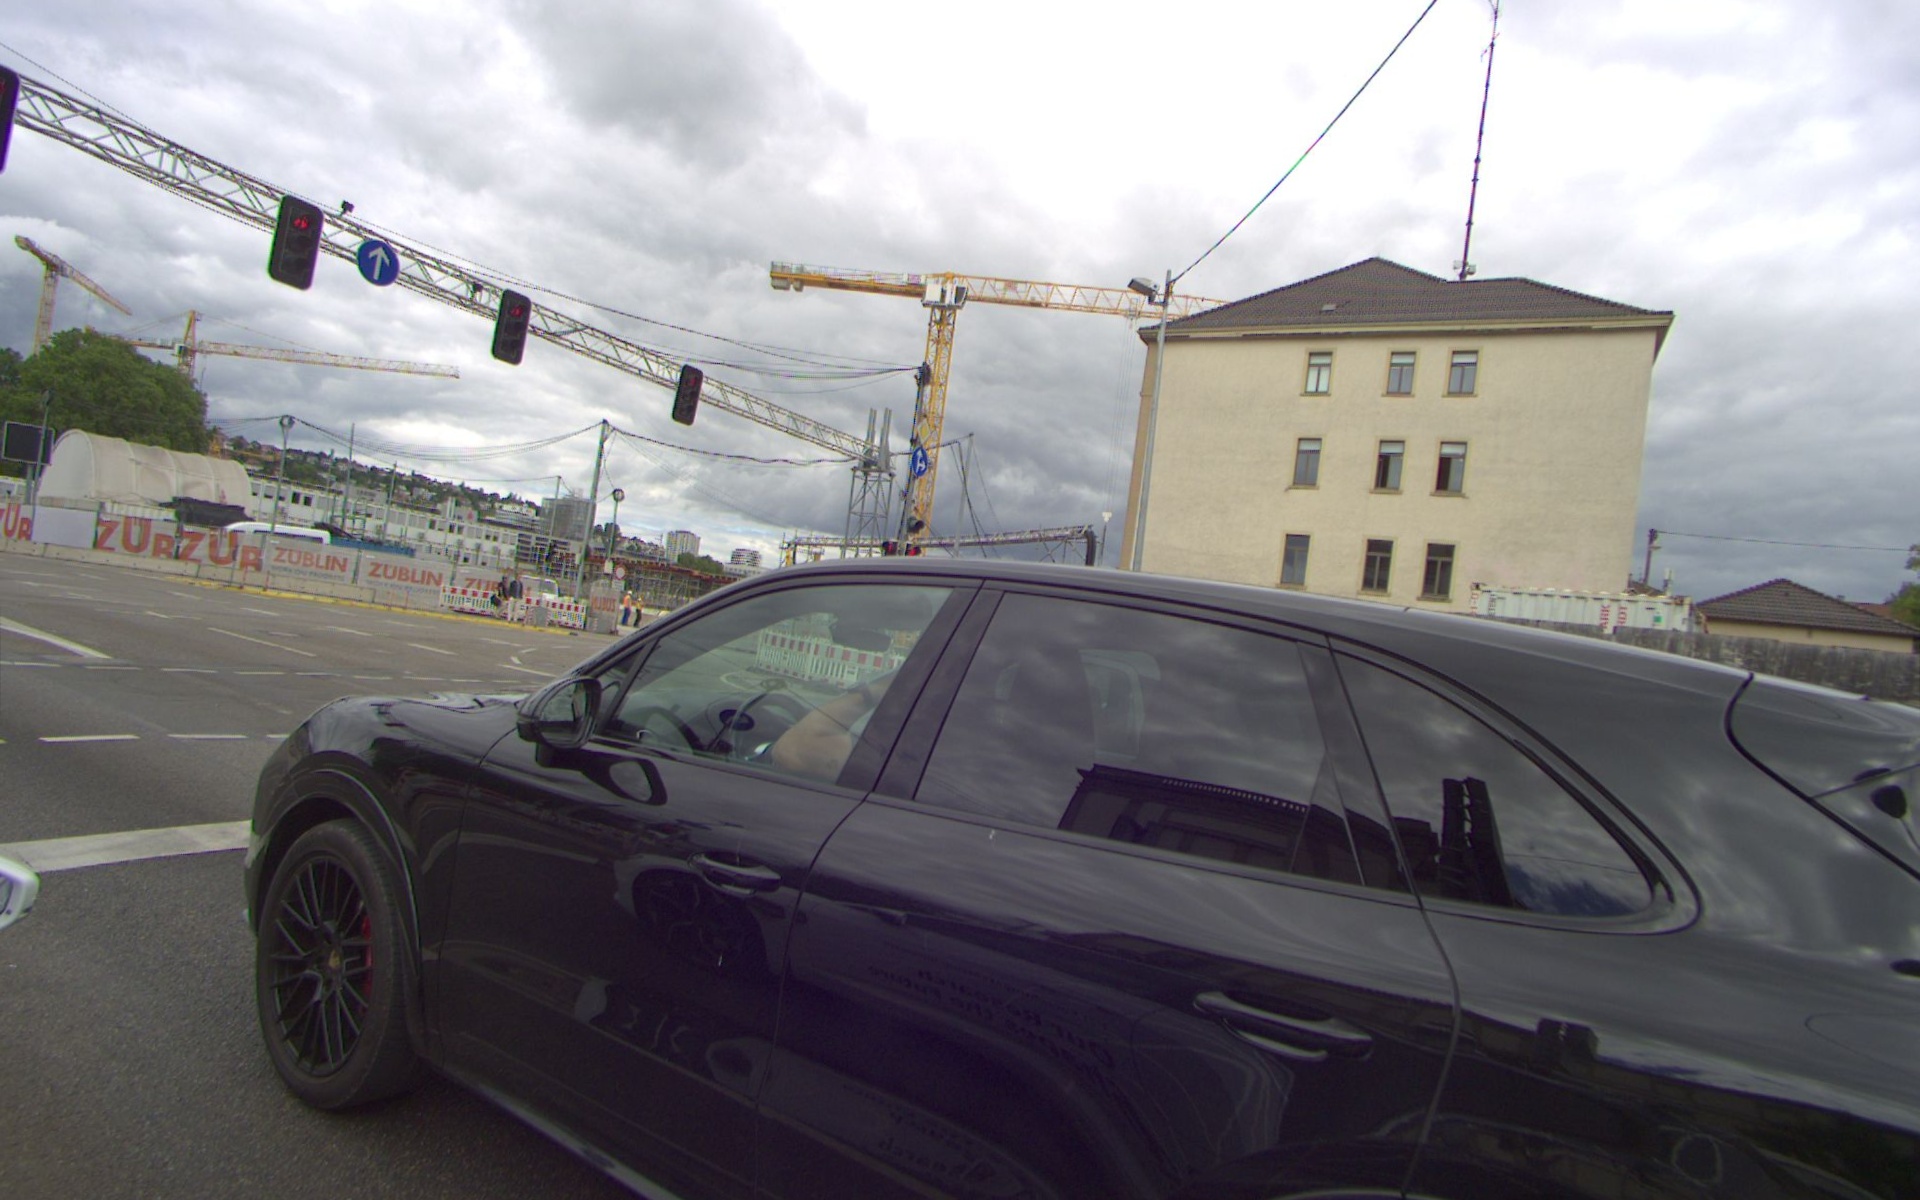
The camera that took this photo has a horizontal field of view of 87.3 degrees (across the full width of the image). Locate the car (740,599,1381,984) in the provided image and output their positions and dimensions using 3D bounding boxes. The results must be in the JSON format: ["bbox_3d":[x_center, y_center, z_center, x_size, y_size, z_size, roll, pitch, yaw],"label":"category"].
[{"bbox_3d":[0.587,1.001,6.548,3.587,1.527,1.825,6,-2,33],"label":"car"}]

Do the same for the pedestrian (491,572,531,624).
[{"bbox_3d":[-17.494,-0.092,39.230,1.040,1.869,0.781,8,-1,-42],"label":"pedestrian"}]

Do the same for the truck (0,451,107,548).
[{"bbox_3d":[-57.713,-6.346,60.213,3.054,5.017,9.759,7,-2,14],"label":"truck"}]

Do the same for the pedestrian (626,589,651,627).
[{"bbox_3d":[-17.488,0.440,54.663,0.850,1.938,0.680,7,-1,26],"label":"pedestrian"}]

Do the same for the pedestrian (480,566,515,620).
[{"bbox_3d":[-18.789,-0.267,40.878,1.020,2.037,1.041,8,-1,-22],"label":"pedestrian"}]

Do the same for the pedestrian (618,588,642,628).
[{"bbox_3d":[-17.637,0.443,53.819,0.855,2.037,0.677,6,-1,44],"label":"pedestrian"}]

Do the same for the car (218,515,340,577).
[{"bbox_3d":[-29.520,-2.328,43.635,3.976,2.037,1.976,9,-2,-43],"label":"car"}]

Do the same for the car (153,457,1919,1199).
[{"bbox_3d":[0.006,0.693,2.711,4.505,1.687,1.996,6,-2,34],"label":"car"}]
